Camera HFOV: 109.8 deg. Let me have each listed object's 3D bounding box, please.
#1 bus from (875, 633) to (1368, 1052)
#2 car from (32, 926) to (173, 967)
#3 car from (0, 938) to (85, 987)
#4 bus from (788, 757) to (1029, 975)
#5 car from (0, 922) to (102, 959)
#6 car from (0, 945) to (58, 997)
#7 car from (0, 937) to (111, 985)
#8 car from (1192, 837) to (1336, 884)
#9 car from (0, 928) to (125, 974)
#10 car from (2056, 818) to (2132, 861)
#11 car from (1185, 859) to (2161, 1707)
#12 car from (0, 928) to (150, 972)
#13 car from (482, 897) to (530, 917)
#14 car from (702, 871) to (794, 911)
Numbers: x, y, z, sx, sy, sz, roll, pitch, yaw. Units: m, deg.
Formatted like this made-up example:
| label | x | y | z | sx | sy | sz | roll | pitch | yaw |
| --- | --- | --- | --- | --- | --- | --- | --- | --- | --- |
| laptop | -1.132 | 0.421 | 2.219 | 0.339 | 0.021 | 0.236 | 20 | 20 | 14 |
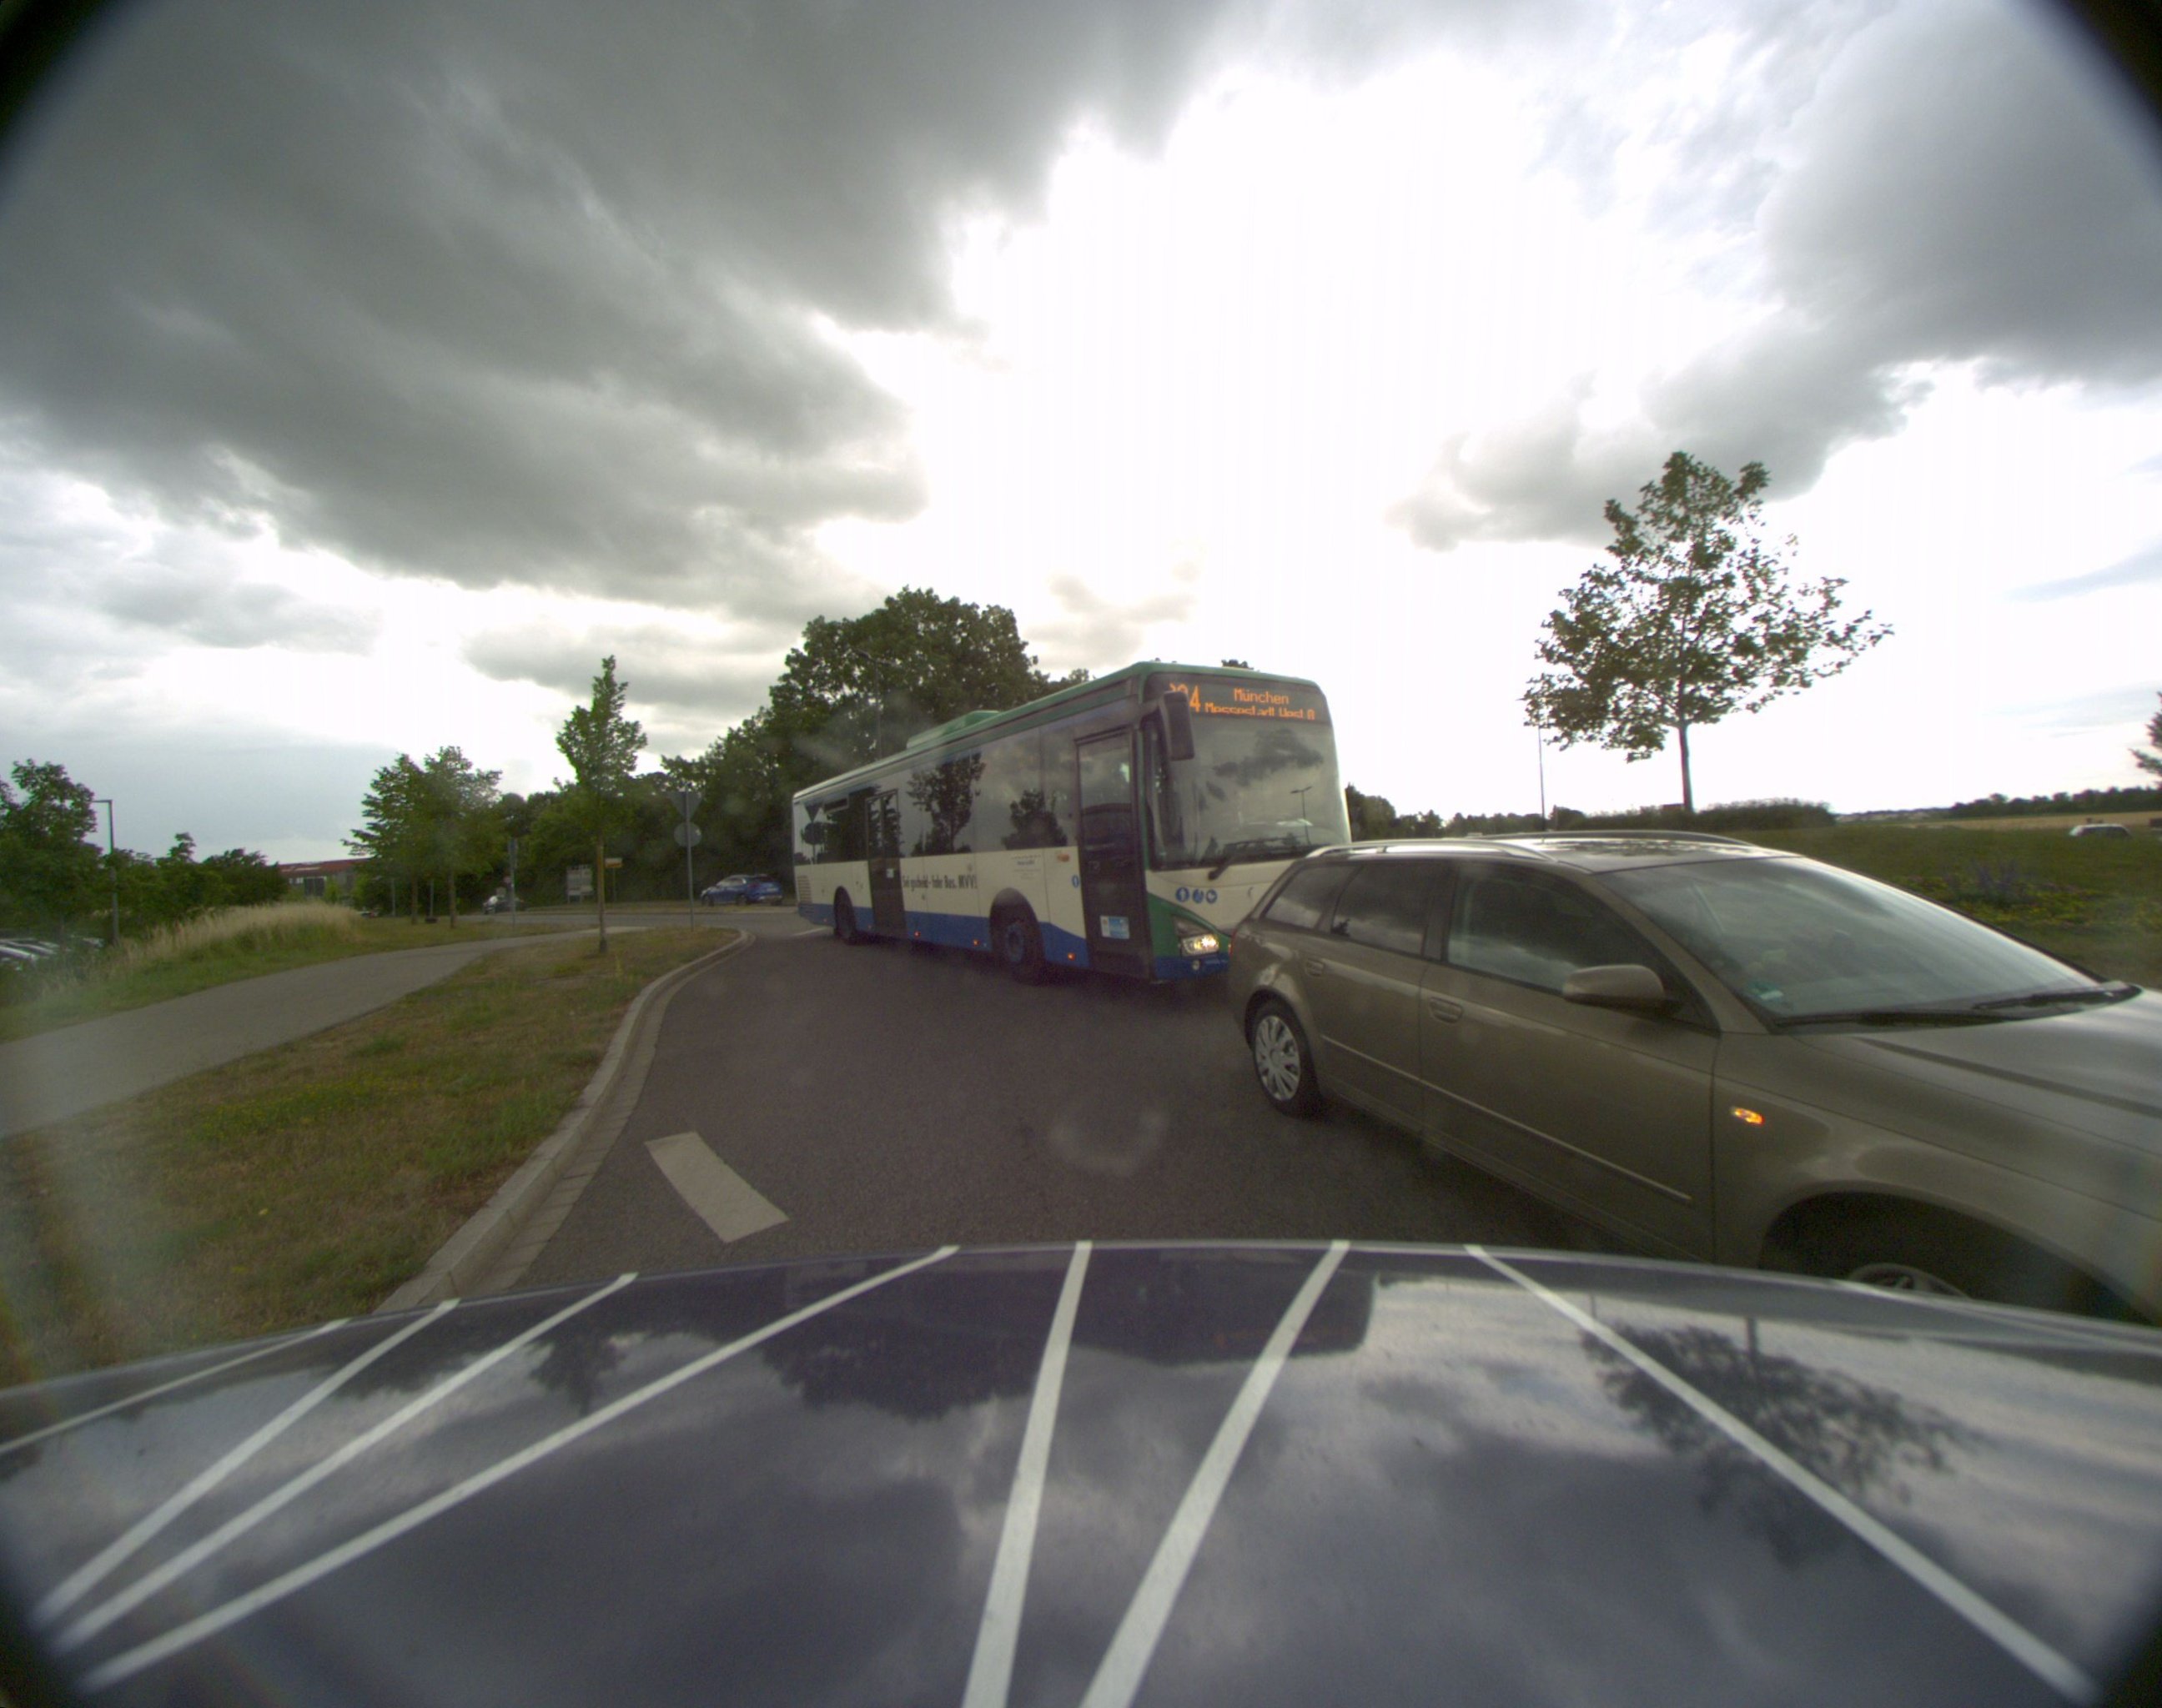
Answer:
| label | x | y | z | sx | sy | sz | roll | pitch | yaw |
| --- | --- | --- | --- | --- | --- | --- | --- | --- | --- |
| bus | -0.139 | -0.113 | 9.285 | 2.529 | 3.239 | 6.532 | -2 | 1 | -34 |
| car | -47.688 | 4.469 | 37.177 | 3.896 | 1.455 | 1.693 | -3 | 0 | -39 |
| car | -38.398 | 3.934 | 26.609 | 3.896 | 1.455 | 1.693 | -3 | 0 | -39 |
| bus | -3.482 | 0.145 | 14.270 | 2.529 | 3.239 | 5.446 | -2 | 1 | -34 |
| car | -51.532 | 4.286 | 37.395 | 1.879 | 1.435 | 4.007 | -3 | 0 | 36 |
| car | -35.684 | 3.852 | 23.861 | 3.896 | 1.455 | 1.693 | -3 | 0 | -39 |
| car | -40.421 | 4.141 | 28.969 | 3.896 | 1.455 | 1.693 | -3 | 0 | -39 |
| car | 7.119 | 0.236 | 29.413 | 5.292 | 1.489 | 1.969 | -3 | 0 | -25 |
| car | -42.645 | 3.994 | 31.195 | 3.896 | 1.455 | 1.693 | -3 | 0 | -39 |
| car | 44.893 | -0.662 | 33.653 | 4.005 | 1.544 | 1.713 | -5 | 0 | -33 |
| car | 2.149 | 0.786 | 2.846 | 1.784 | 1.456 | 4.535 | -2 | 0 | -16 |
| car | -45.131 | 4.266 | 34.099 | 3.896 | 1.455 | 1.693 | -3 | 0 | -39 |
| car | -42.375 | 3.909 | 55.999 | 4.103 | 1.299 | 1.835 | -3 | -1 | 39 |
| car | -14.967 | 1.677 | 34.107 | 4.072 | 1.422 | 1.766 | -6 | 0 | 33 |
